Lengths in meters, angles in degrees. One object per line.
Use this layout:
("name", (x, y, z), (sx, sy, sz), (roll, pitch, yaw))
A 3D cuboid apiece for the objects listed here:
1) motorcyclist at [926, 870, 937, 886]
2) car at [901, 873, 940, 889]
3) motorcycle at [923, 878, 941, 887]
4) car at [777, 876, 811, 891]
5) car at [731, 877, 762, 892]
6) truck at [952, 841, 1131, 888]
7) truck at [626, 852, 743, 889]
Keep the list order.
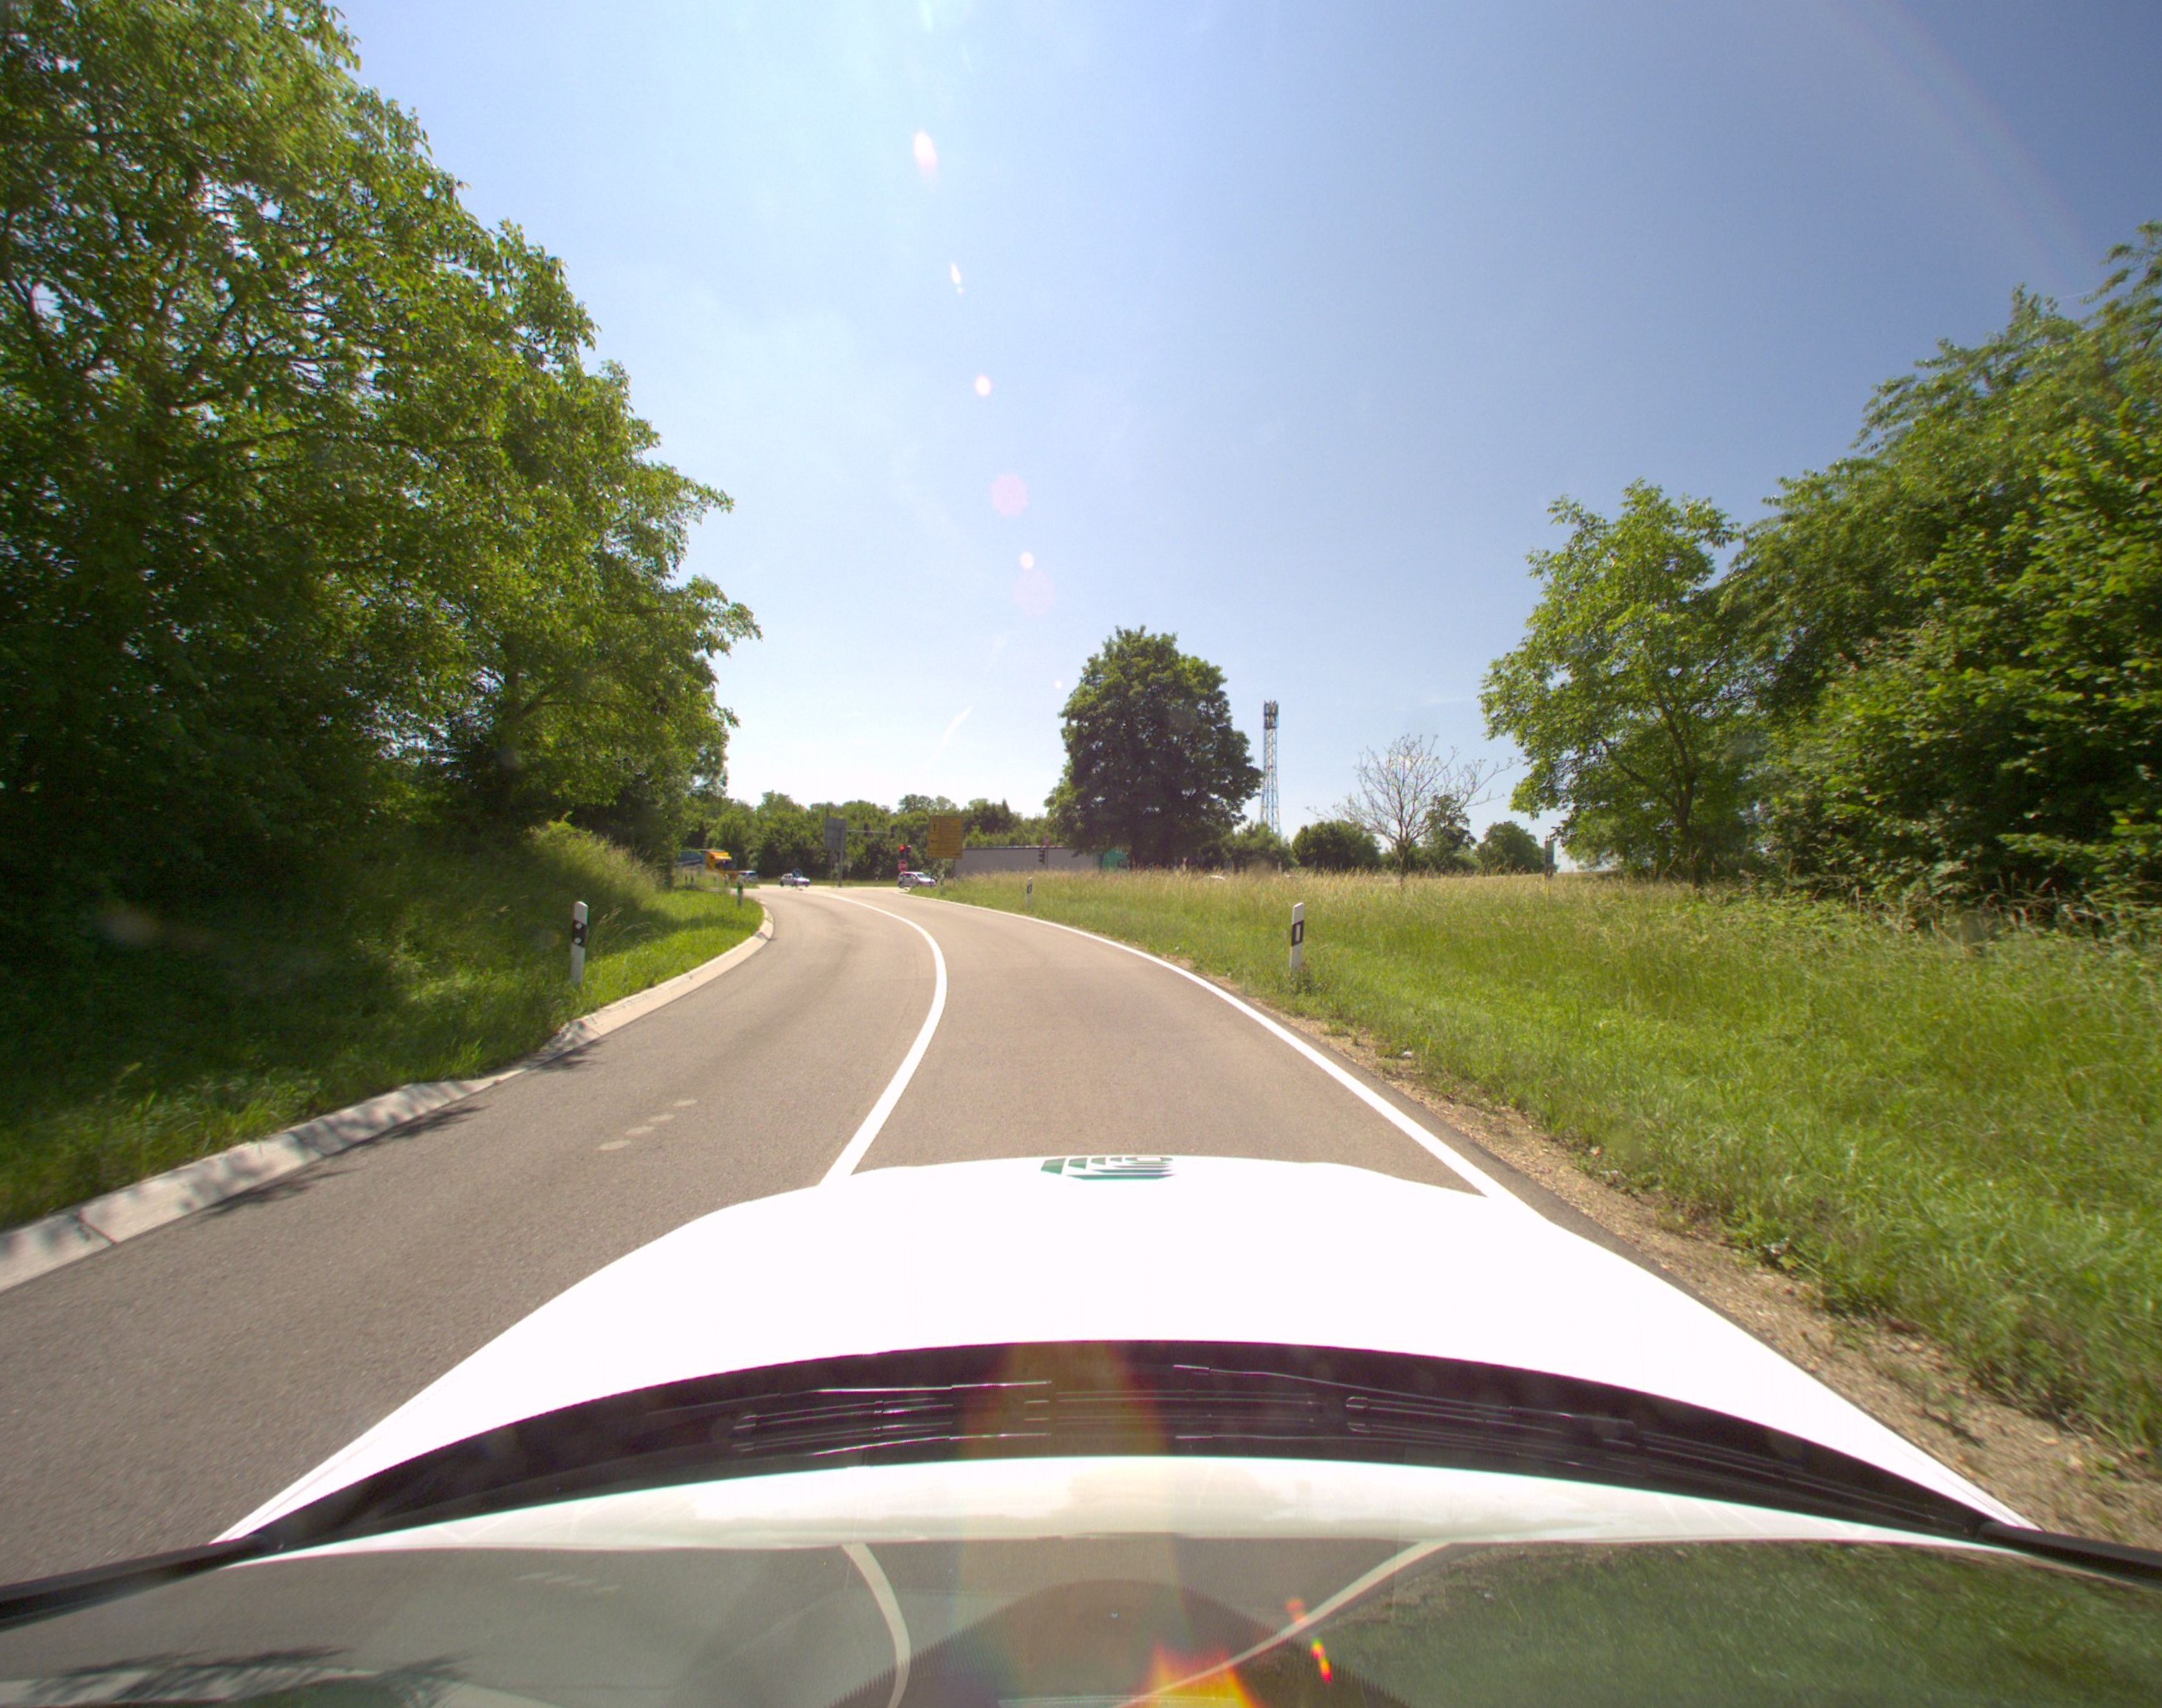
("motorcyclist", (-16.626, 2.664, 90.532), (0.888, 1.843, 0.844), (-2, -2, 24))
("car", (-15.989, 2.693, 81.178), (3.642, 1.575, 1.736), (-2, -1, 32))
("motorcycle", (-16.590, 3.150, 90.494), (1.849, 0.963, 0.735), (-2, -2, 25))
("car", (-32.259, 3.296, 91.518), (3.863, 1.575, 1.670), (-2, -1, 35))
("car", (-42.008, 3.801, 102.329), (3.611, 1.706, 1.639), (-2, 0, 27))
("truck", (-3.745, 1.040, 76.576), (16.513, 4.173, 3.147), (-1, -2, 13))
("truck", (-46.603, 1.907, 95.351), (16.600, 4.132, 2.868), (0, -2, 27))
